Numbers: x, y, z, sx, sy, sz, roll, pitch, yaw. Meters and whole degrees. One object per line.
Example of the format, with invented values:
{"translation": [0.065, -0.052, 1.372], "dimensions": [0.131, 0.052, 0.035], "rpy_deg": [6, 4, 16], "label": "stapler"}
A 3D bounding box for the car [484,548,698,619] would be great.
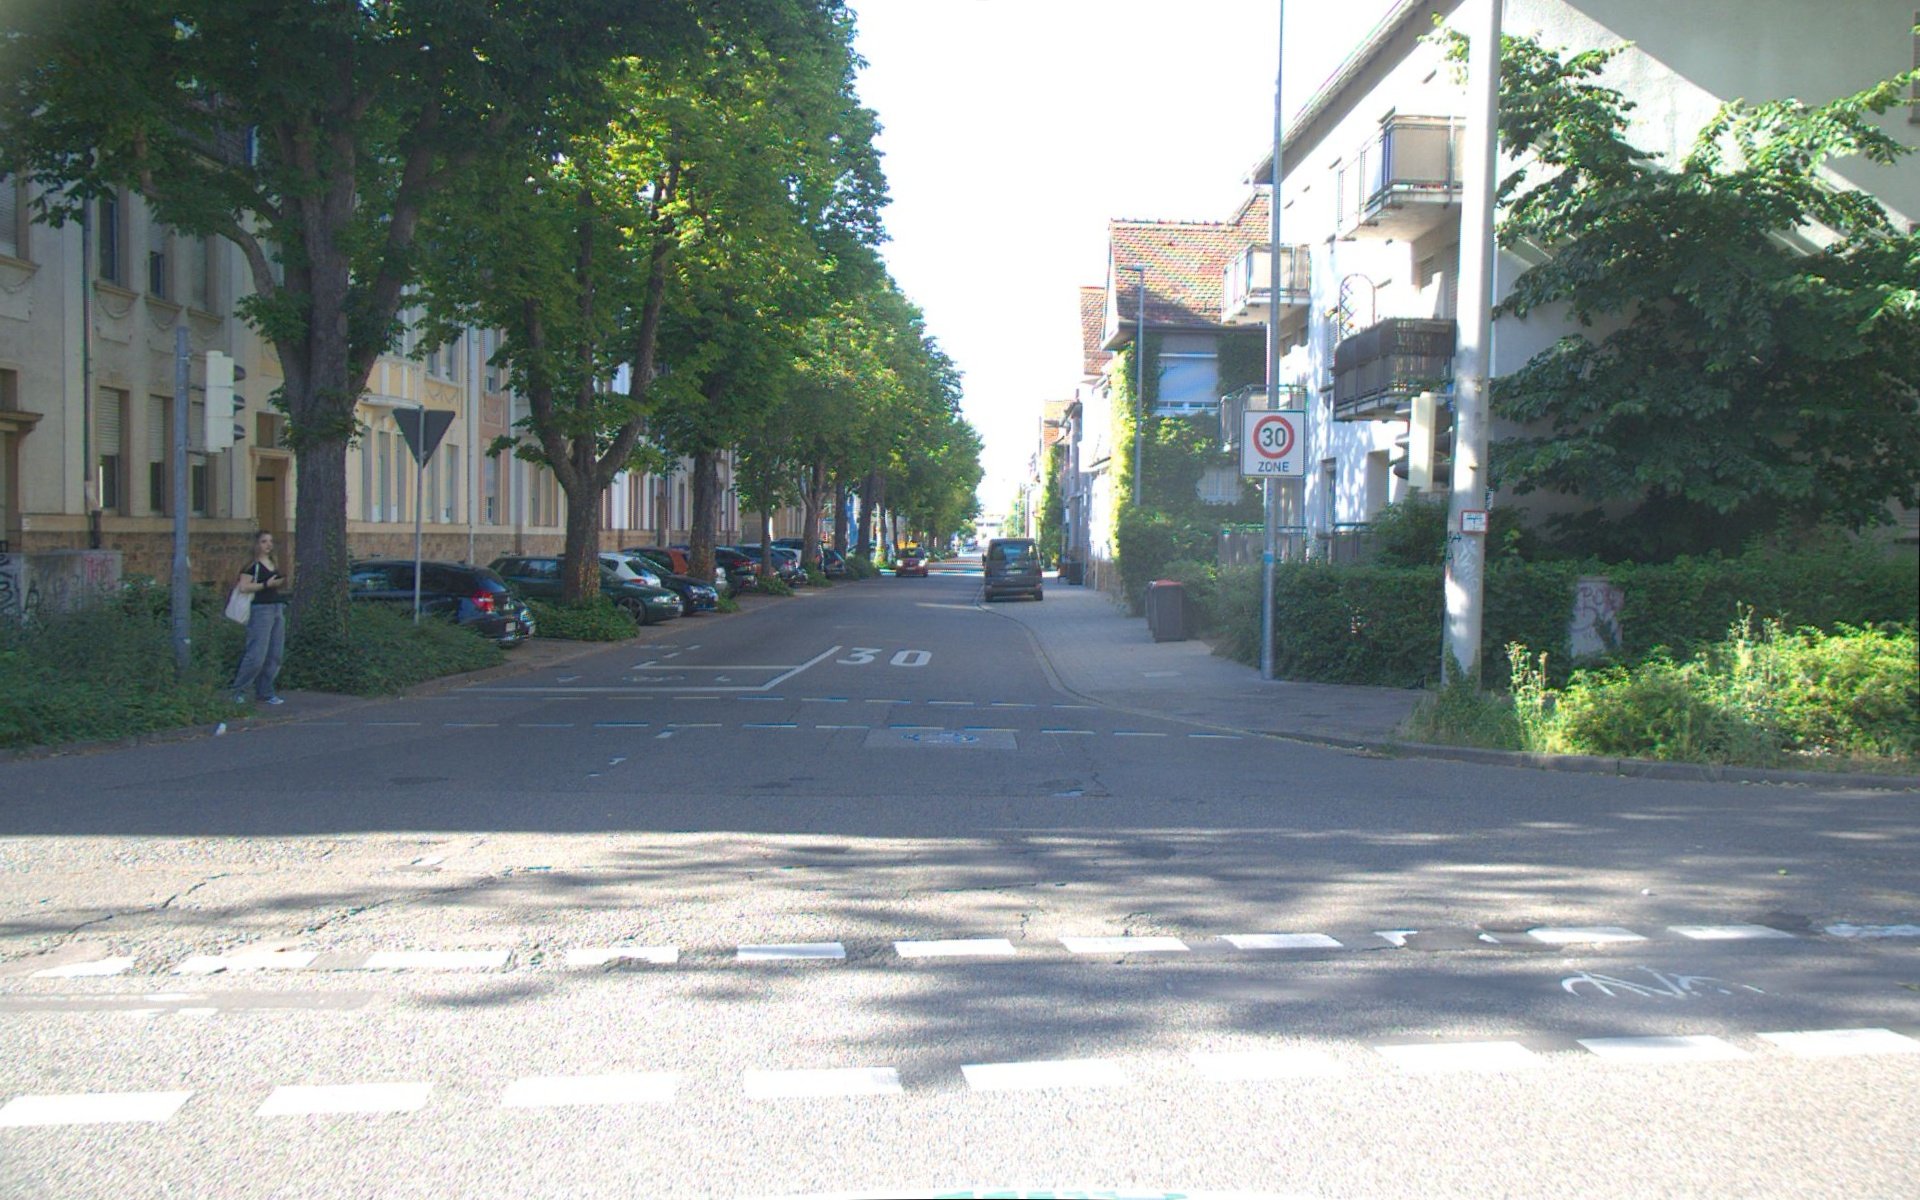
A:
{"translation": [-7.776, -0.362, 35.101], "dimensions": [4.125, 1.372, 1.703], "rpy_deg": [1, 1, 1], "label": "car"}

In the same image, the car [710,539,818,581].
{"translation": [-7.611, -1.574, 64.516], "dimensions": [3.820, 1.471, 1.861], "rpy_deg": [2, 2, 6], "label": "car"}

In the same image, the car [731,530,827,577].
{"translation": [-7.735, -2.005, 70.980], "dimensions": [3.898, 1.887, 1.829], "rpy_deg": [1, 2, 0], "label": "car"}

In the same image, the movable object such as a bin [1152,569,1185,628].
{"translation": [3.935, -0.035, 31.213], "dimensions": [0.473, 1.062, 0.657], "rpy_deg": [-3, 2, -1], "label": "movable object such as a bin"}

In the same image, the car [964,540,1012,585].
{"translation": [1.144, -1.500, 65.526], "dimensions": [1.752, 1.628, 4.002], "rpy_deg": [-2, 2, 2], "label": "car"}

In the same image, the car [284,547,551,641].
{"translation": [-8.690, -0.116, 26.736], "dimensions": [3.806, 1.439, 1.614], "rpy_deg": [0, 2, -5], "label": "car"}

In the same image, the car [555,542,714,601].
{"translation": [-8.795, -0.784, 44.854], "dimensions": [3.904, 1.534, 1.723], "rpy_deg": [0, 2, 2], "label": "car"}

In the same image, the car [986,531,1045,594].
{"translation": [1.797, -1.255, 53.999], "dimensions": [1.826, 1.949, 4.784], "rpy_deg": [0, 2, 1], "label": "car"}

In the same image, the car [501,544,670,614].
{"translation": [-8.440, -0.490, 37.412], "dimensions": [3.362, 1.477, 1.704], "rpy_deg": [1, 1, 3], "label": "car"}

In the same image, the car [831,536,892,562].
{"translation": [-6.422, -3.316, 108.350], "dimensions": [3.907, 1.489, 1.797], "rpy_deg": [3, 1, -3], "label": "car"}

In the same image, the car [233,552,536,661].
{"translation": [-8.289, 0.071, 24.021], "dimensions": [3.802, 1.501, 1.616], "rpy_deg": [0, 2, 1], "label": "car"}

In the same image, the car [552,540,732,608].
{"translation": [-7.606, -0.645, 39.797], "dimensions": [3.904, 1.508, 1.786], "rpy_deg": [2, 2, 2], "label": "car"}

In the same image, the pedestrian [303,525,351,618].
{"translation": [-11.656, -0.538, 30.471], "dimensions": [0.450, 1.687, 0.895], "rpy_deg": [1, 2, 9], "label": "pedestrian"}

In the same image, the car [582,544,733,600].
{"translation": [-8.597, -0.817, 47.209], "dimensions": [3.904, 1.427, 1.831], "rpy_deg": [2, 2, 2], "label": "car"}

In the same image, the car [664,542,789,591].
{"translation": [-7.818, -1.140, 55.602], "dimensions": [3.905, 1.540, 1.748], "rpy_deg": [1, 1, 1], "label": "car"}

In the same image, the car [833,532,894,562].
{"translation": [-6.433, -3.529, 110.578], "dimensions": [3.907, 1.791, 1.797], "rpy_deg": [3, 1, -3], "label": "car"}

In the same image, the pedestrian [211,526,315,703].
{"translation": [-6.891, 0.126, 16.372], "dimensions": [0.679, 1.711, 0.681], "rpy_deg": [1, 2, 12], "label": "pedestrian"}

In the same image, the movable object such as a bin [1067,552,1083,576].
{"translation": [5.182, -1.614, 74.690], "dimensions": [0.634, 1.057, 0.828], "rpy_deg": [0, 2, -1], "label": "movable object such as a bin"}

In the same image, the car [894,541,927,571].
{"translation": [-2.657, -2.386, 88.737], "dimensions": [1.607, 1.534, 3.703], "rpy_deg": [-1, 2, 1], "label": "car"}

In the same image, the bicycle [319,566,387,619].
{"translation": [-11.190, -0.158, 30.530], "dimensions": [0.462, 0.927, 1.598], "rpy_deg": [1, 2, 8], "label": "bicycle"}

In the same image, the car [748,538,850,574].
{"translation": [-7.349, -2.036, 75.780], "dimensions": [4.439, 1.529, 1.892], "rpy_deg": [1, 2, 0], "label": "car"}

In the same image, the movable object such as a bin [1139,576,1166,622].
{"translation": [4.083, -0.023, 35.068], "dimensions": [0.493, 0.931, 0.573], "rpy_deg": [-3, 2, 3], "label": "movable object such as a bin"}

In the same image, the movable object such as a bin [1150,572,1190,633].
{"translation": [3.845, 0.042, 30.366], "dimensions": [0.585, 1.062, 0.707], "rpy_deg": [-3, 2, -1], "label": "movable object such as a bin"}

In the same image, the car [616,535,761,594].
{"translation": [-8.062, -1.065, 49.329], "dimensions": [3.904, 1.593, 1.864], "rpy_deg": [2, 2, 2], "label": "car"}

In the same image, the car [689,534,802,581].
{"translation": [-7.908, -1.584, 61.215], "dimensions": [3.905, 1.619, 1.860], "rpy_deg": [2, 2, 0], "label": "car"}
